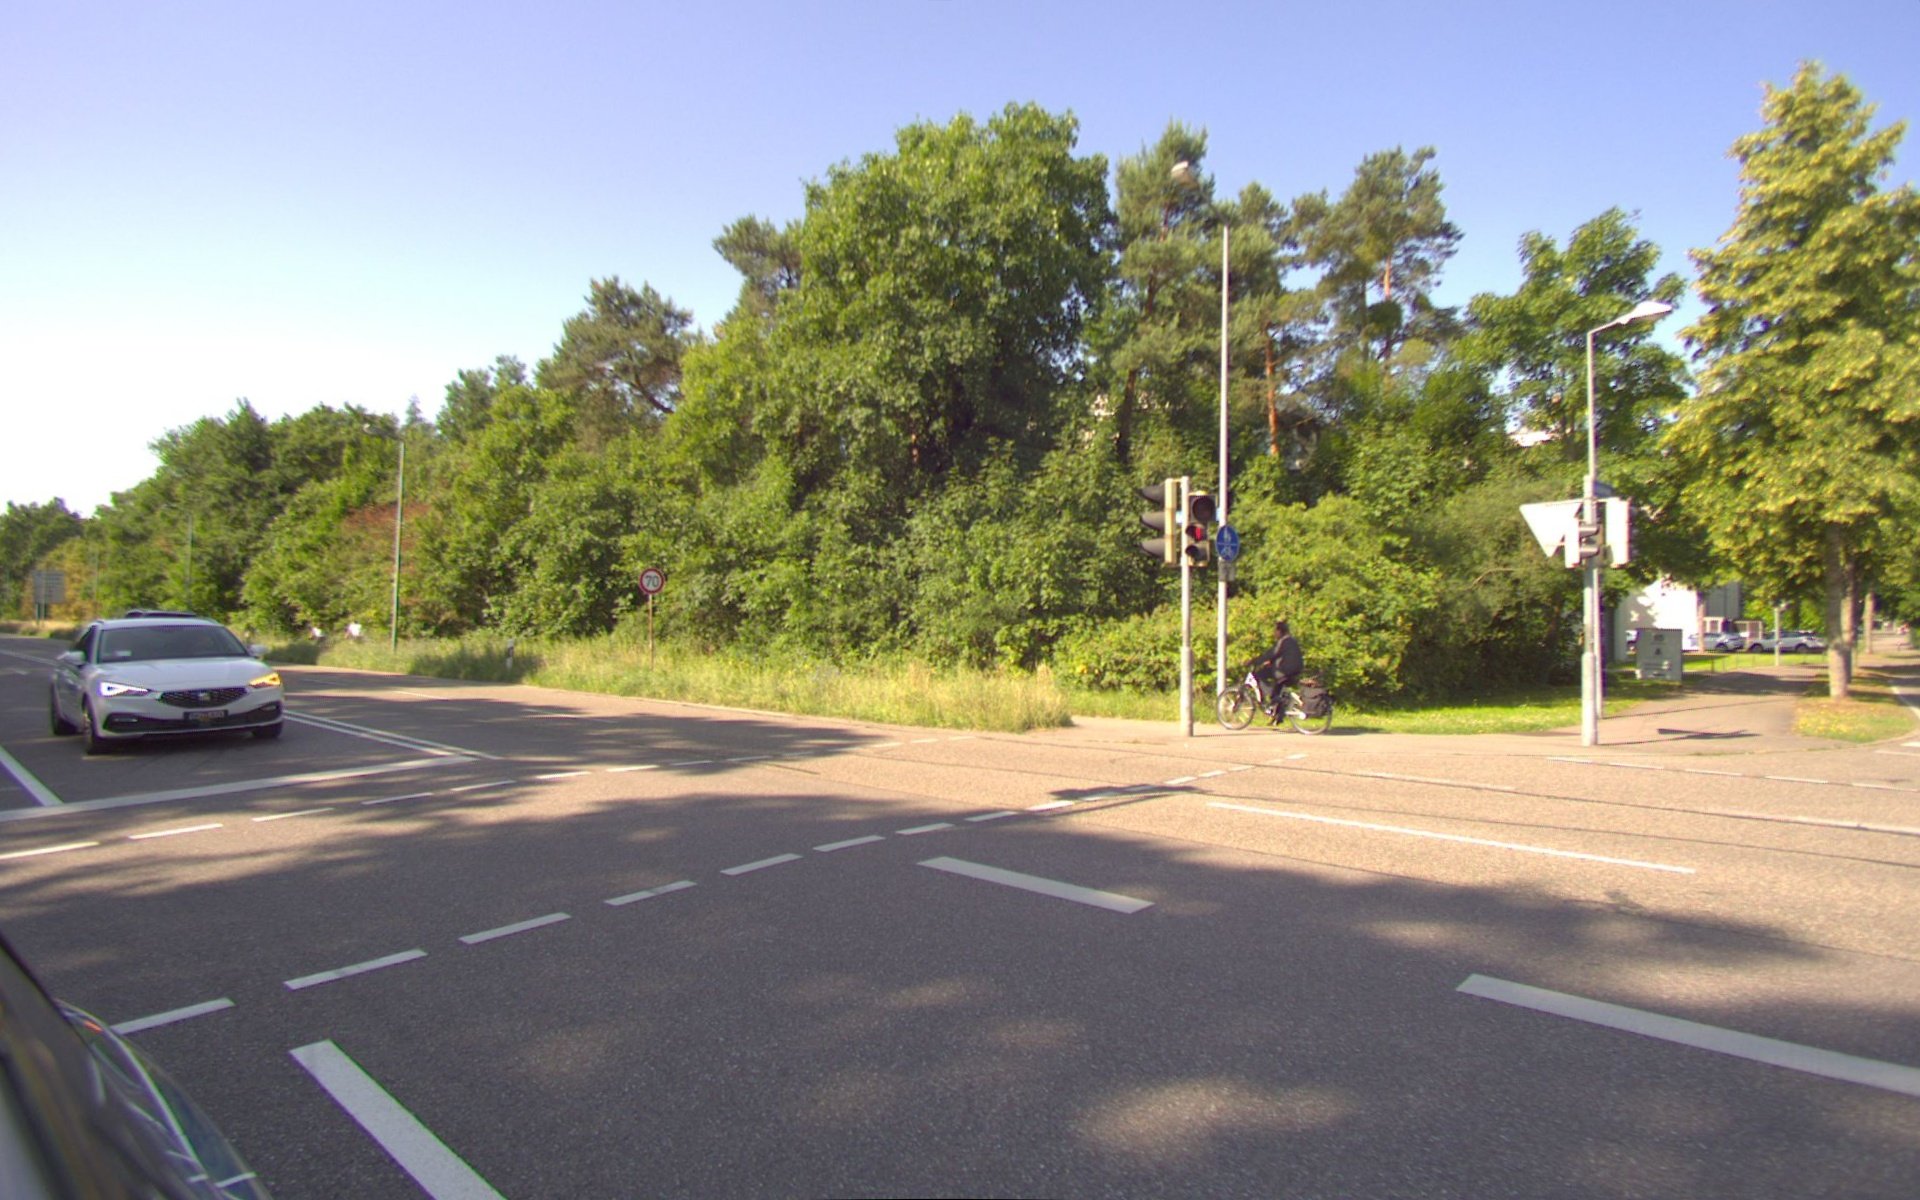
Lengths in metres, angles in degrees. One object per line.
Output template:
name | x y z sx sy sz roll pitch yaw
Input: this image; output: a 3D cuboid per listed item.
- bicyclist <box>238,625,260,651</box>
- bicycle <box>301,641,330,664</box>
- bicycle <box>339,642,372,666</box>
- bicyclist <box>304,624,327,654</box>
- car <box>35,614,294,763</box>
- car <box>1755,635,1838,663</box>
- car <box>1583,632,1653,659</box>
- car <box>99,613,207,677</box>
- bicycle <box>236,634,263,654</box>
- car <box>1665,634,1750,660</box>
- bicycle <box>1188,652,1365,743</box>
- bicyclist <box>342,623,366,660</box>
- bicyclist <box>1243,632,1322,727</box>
bicyclist | -36.899 1.965 52.526 0.974 1.352 0.668 -1 0 40
bicycle | -28.455 2.312 44.677 2.139 0.965 0.597 -1 -2 44
bicycle | -24.641 2.205 41.214 2.139 0.921 0.597 -1 -2 44
bicyclist | -28.457 1.700 44.663 0.727 1.273 0.692 -1 0 44
car | -9.680 0.936 12.175 4.422 1.435 1.765 -2 -1 43
car | 52.861 3.064 64.022 1.572 1.575 3.719 -1 0 -25
car | 46.995 3.195 72.314 3.998 1.741 1.973 -1 0 41
car | -23.661 1.278 29.635 4.391 1.710 1.771 -1 -3 43
bicycle | -36.914 2.258 52.541 1.912 0.963 0.668 -1 0 40
car | 50.404 3.147 68.322 1.748 1.497 4.283 -1 0 -38
bicycle | 4.584 1.380 14.796 2.371 1.172 0.725 -1 -2 41
bicyclist | -24.746 1.670 41.344 0.945 1.477 0.603 -1 0 44
bicyclist | 4.687 1.122 14.714 0.883 1.321 0.714 -1 -2 40
